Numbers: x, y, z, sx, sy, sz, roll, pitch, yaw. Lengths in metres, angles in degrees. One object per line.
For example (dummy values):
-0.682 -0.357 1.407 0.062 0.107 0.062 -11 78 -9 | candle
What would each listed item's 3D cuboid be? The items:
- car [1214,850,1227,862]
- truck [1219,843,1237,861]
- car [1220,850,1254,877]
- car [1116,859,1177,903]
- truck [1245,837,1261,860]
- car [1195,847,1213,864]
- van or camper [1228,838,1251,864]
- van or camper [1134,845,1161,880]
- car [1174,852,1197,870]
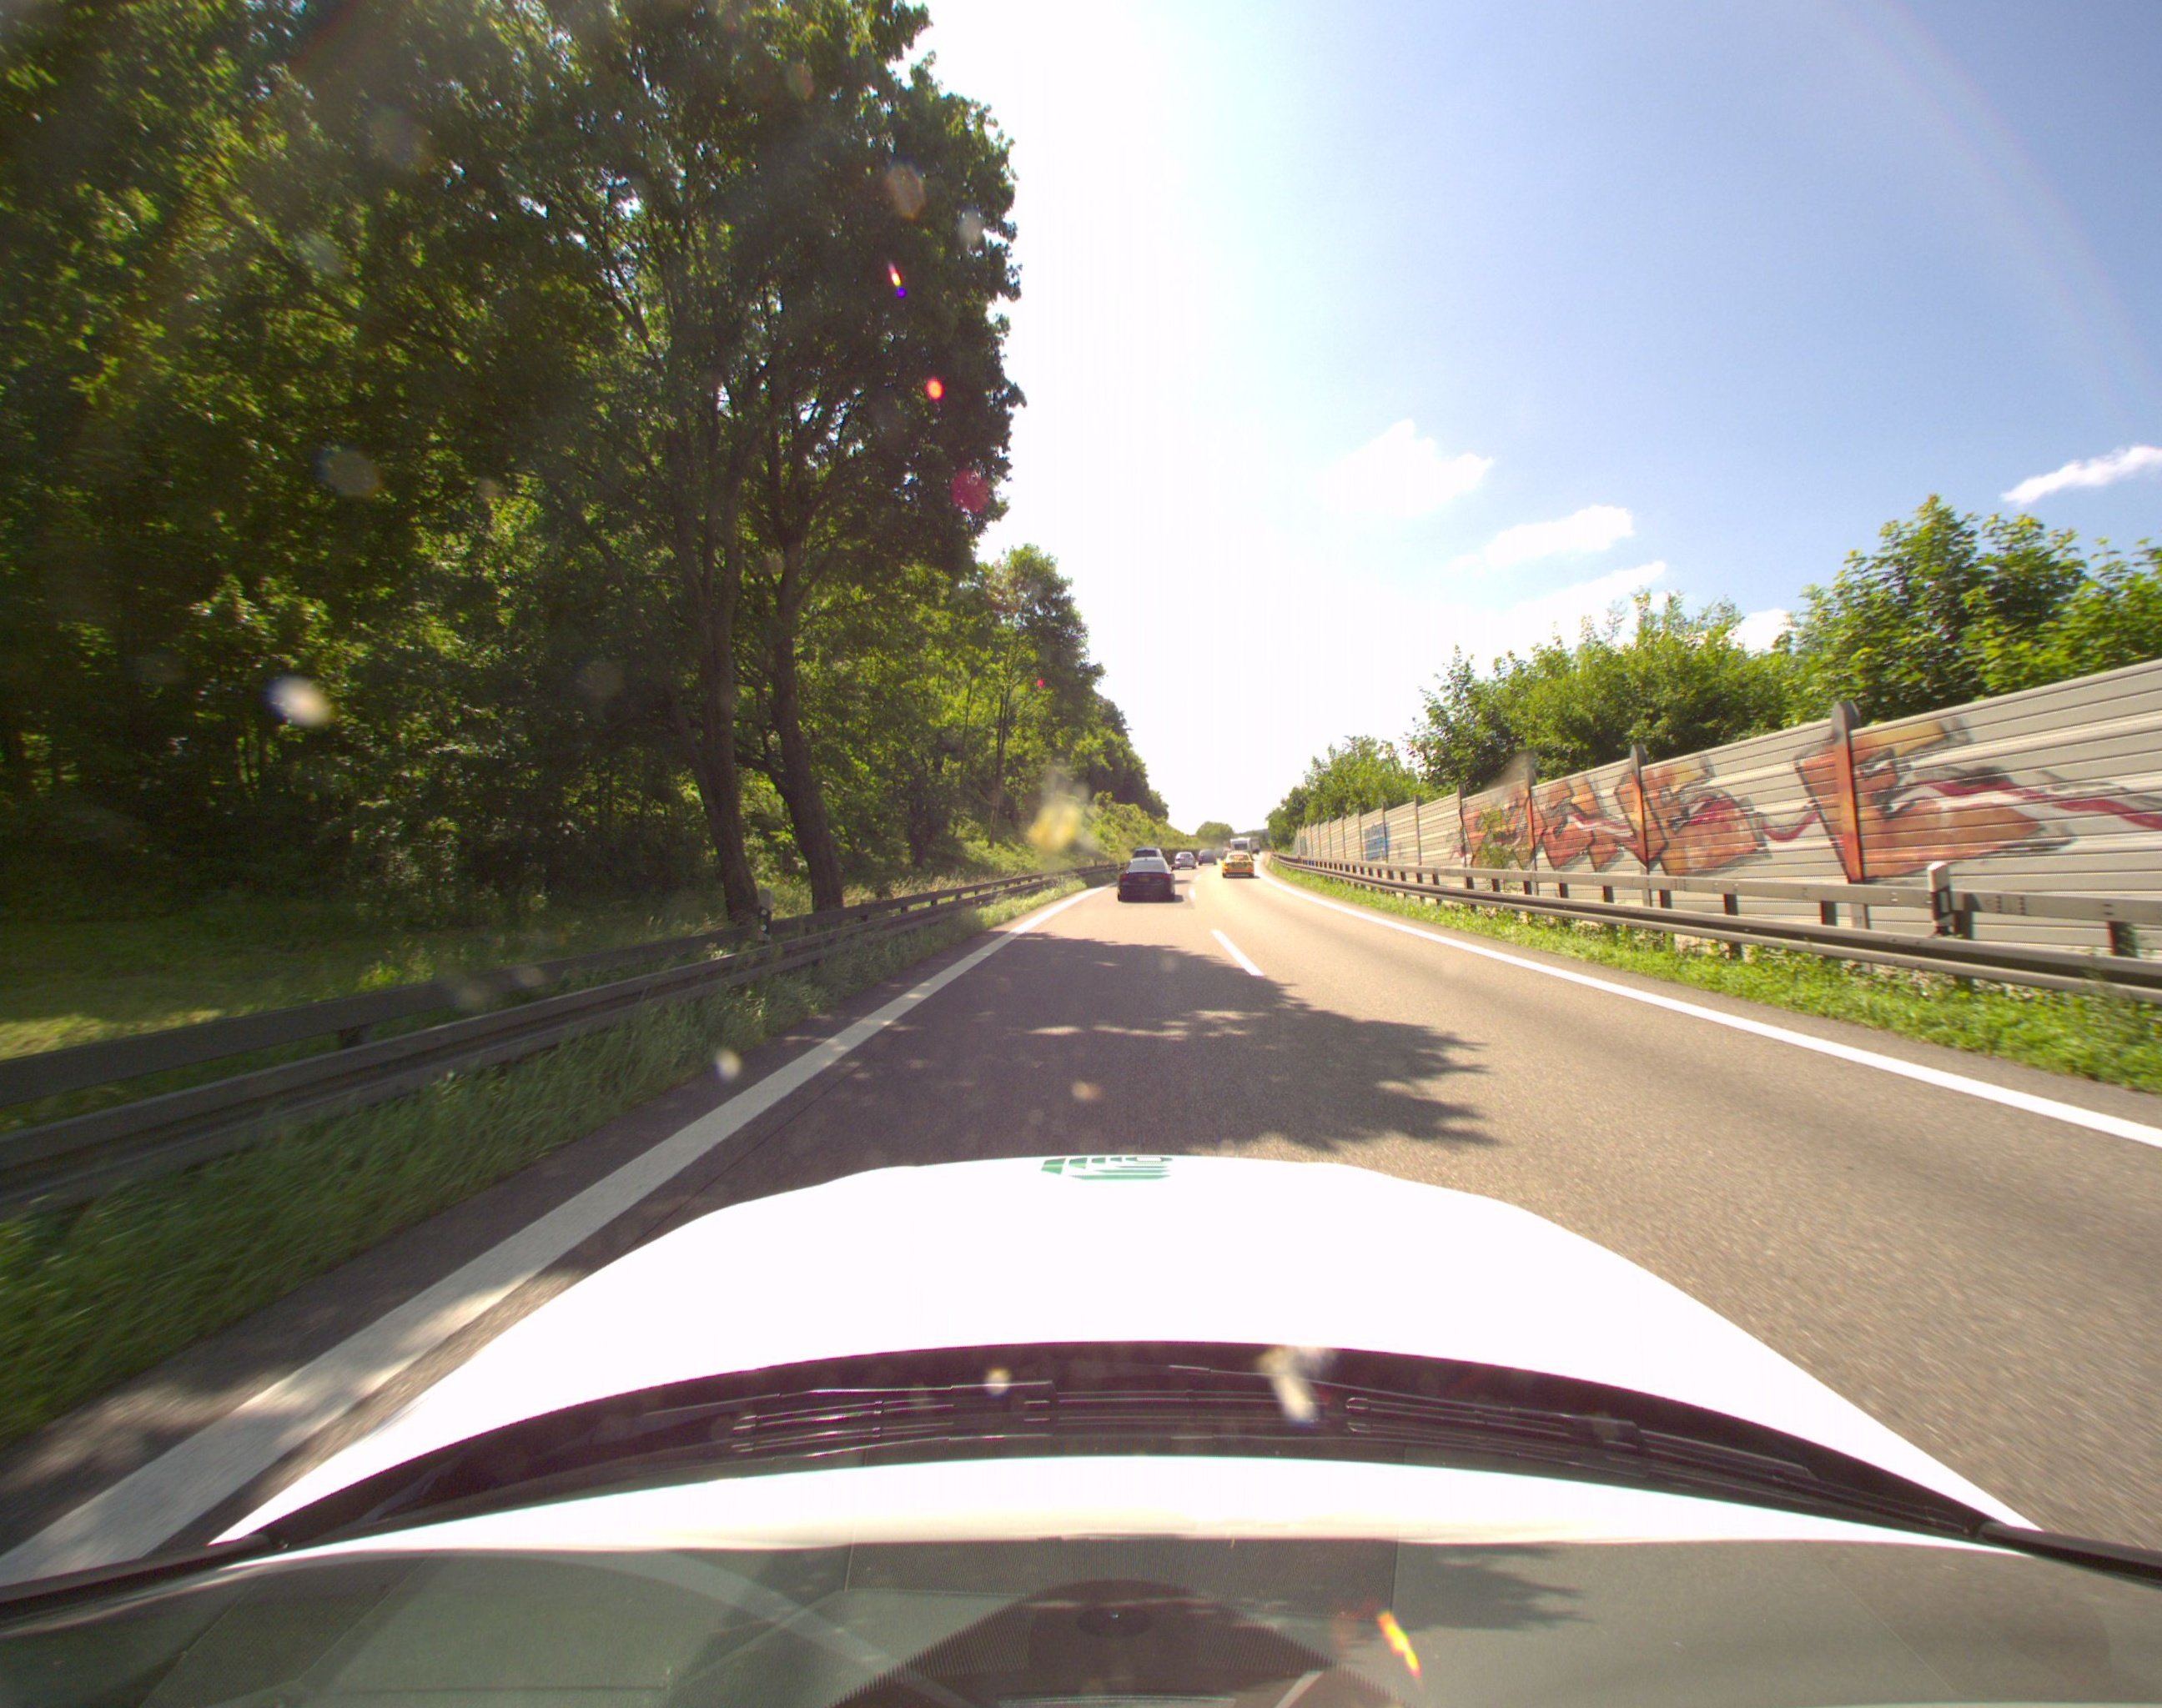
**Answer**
22.204 0.318 129.342 1.829 1.717 4.013 -1 -1 12 | car
25.697 -0.338 142.303 2.823 3.131 7.501 -2 0 10 | truck
9.139 0.570 47.768 1.851 1.488 4.011 -1 -1 10 | car
2.297 0.867 27.624 1.828 1.349 4.008 -1 -1 7 | car
31.961 -0.960 151.163 2.714 4.096 7.505 -2 0 12 | truck
12.662 0.167 83.820 1.763 1.637 4.008 -1 -1 8 | car
18.538 -0.313 95.406 2.440 2.918 6.144 -1 -1 11 | van or camper
3.717 0.493 44.939 1.385 1.816 4.006 -1 -1 5 | van or camper
8.959 0.626 69.578 1.736 1.431 4.010 -1 -1 9 | car
